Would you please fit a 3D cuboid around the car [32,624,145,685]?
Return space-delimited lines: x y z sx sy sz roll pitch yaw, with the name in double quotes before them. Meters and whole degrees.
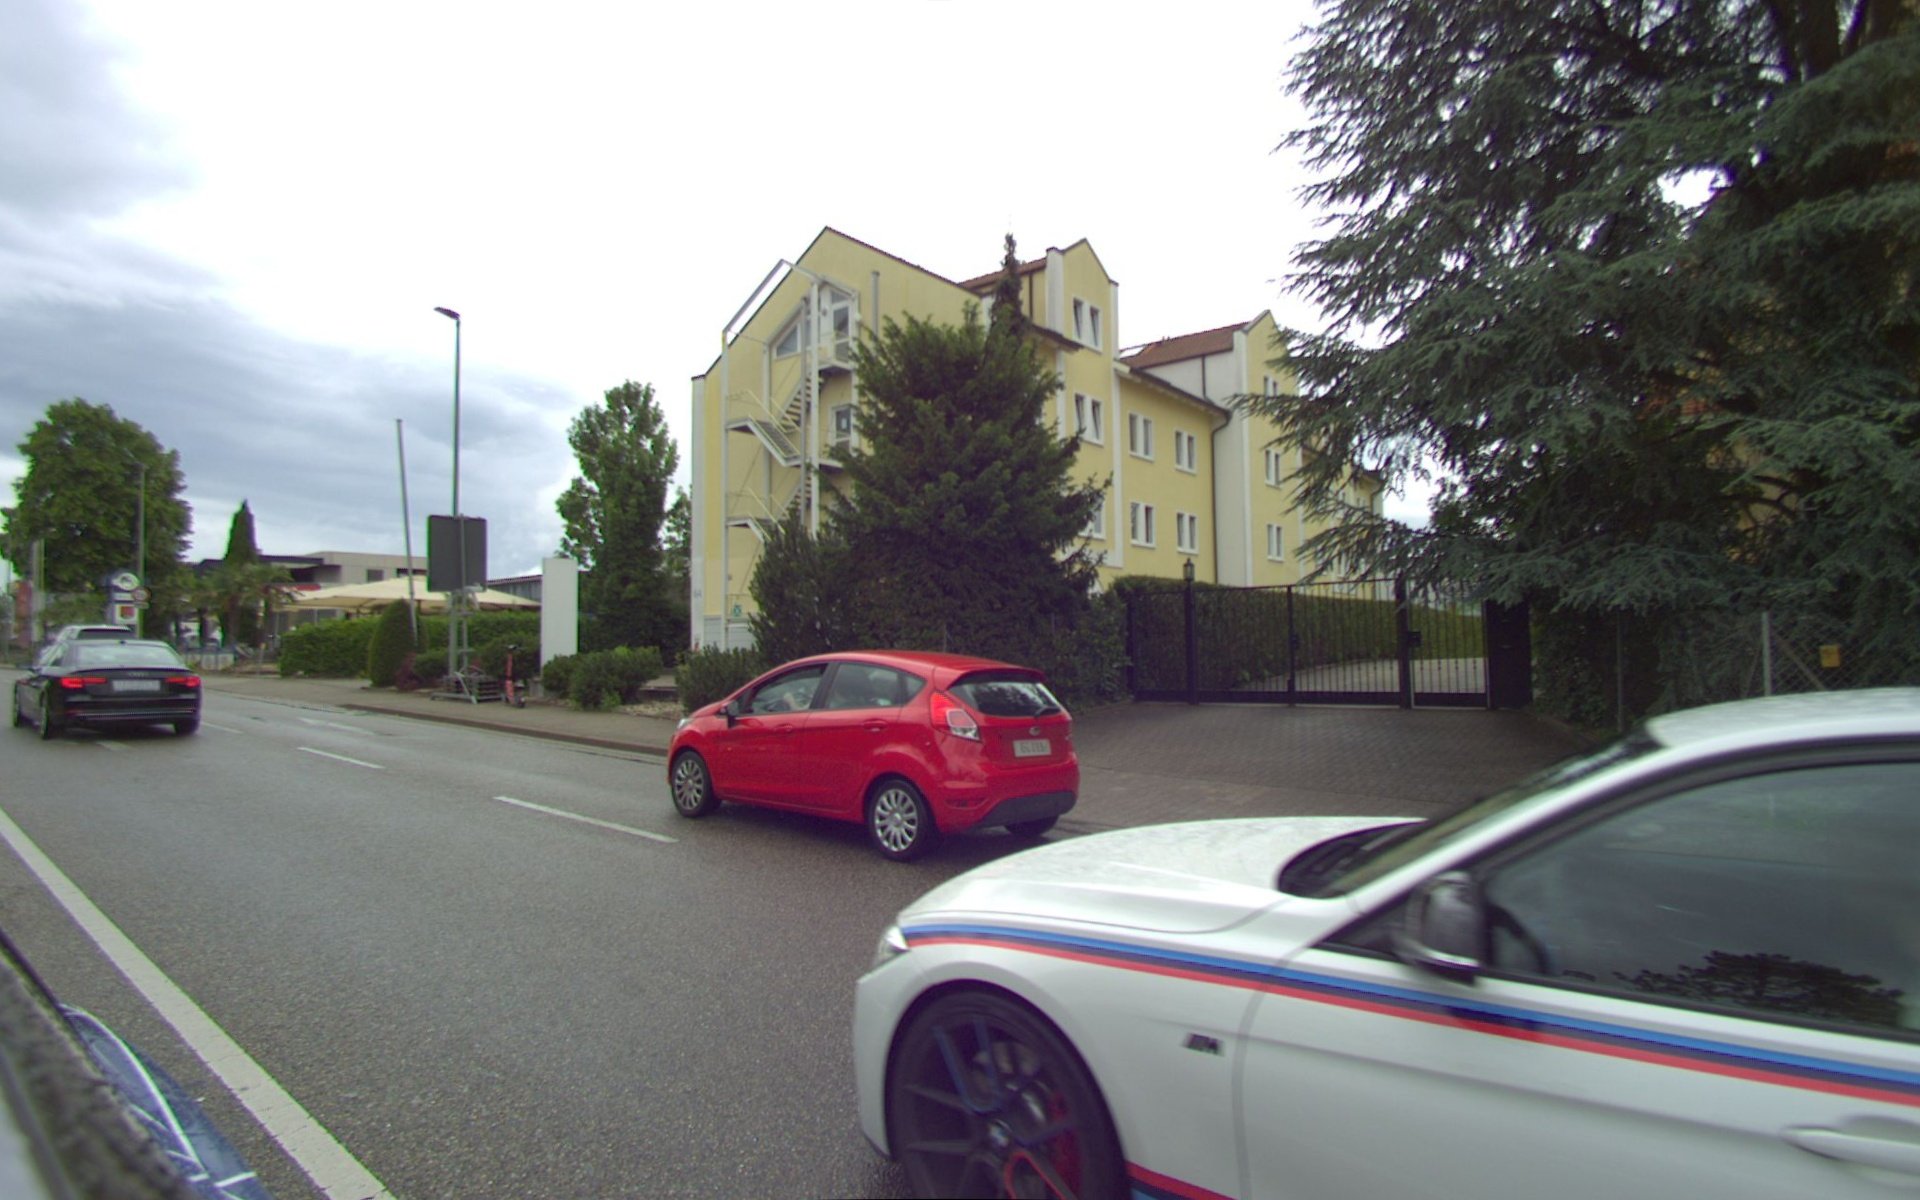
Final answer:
"car" -27.247 1.685 31.578 5.140 1.776 1.897 -2 -5 41

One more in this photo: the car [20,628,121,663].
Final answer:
"car" -55.513 2.857 63.258 1.979 2.029 4.382 -1 -4 12

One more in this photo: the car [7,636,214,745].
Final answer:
"car" -12.980 1.266 15.376 4.264 1.414 1.872 -2 -3 43

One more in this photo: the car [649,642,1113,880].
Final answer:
"car" -0.771 1.110 8.236 3.700 1.467 1.615 -1 -4 41

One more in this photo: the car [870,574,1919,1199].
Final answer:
"car" 1.996 0.704 1.711 4.409 1.395 1.730 -2 -4 42
